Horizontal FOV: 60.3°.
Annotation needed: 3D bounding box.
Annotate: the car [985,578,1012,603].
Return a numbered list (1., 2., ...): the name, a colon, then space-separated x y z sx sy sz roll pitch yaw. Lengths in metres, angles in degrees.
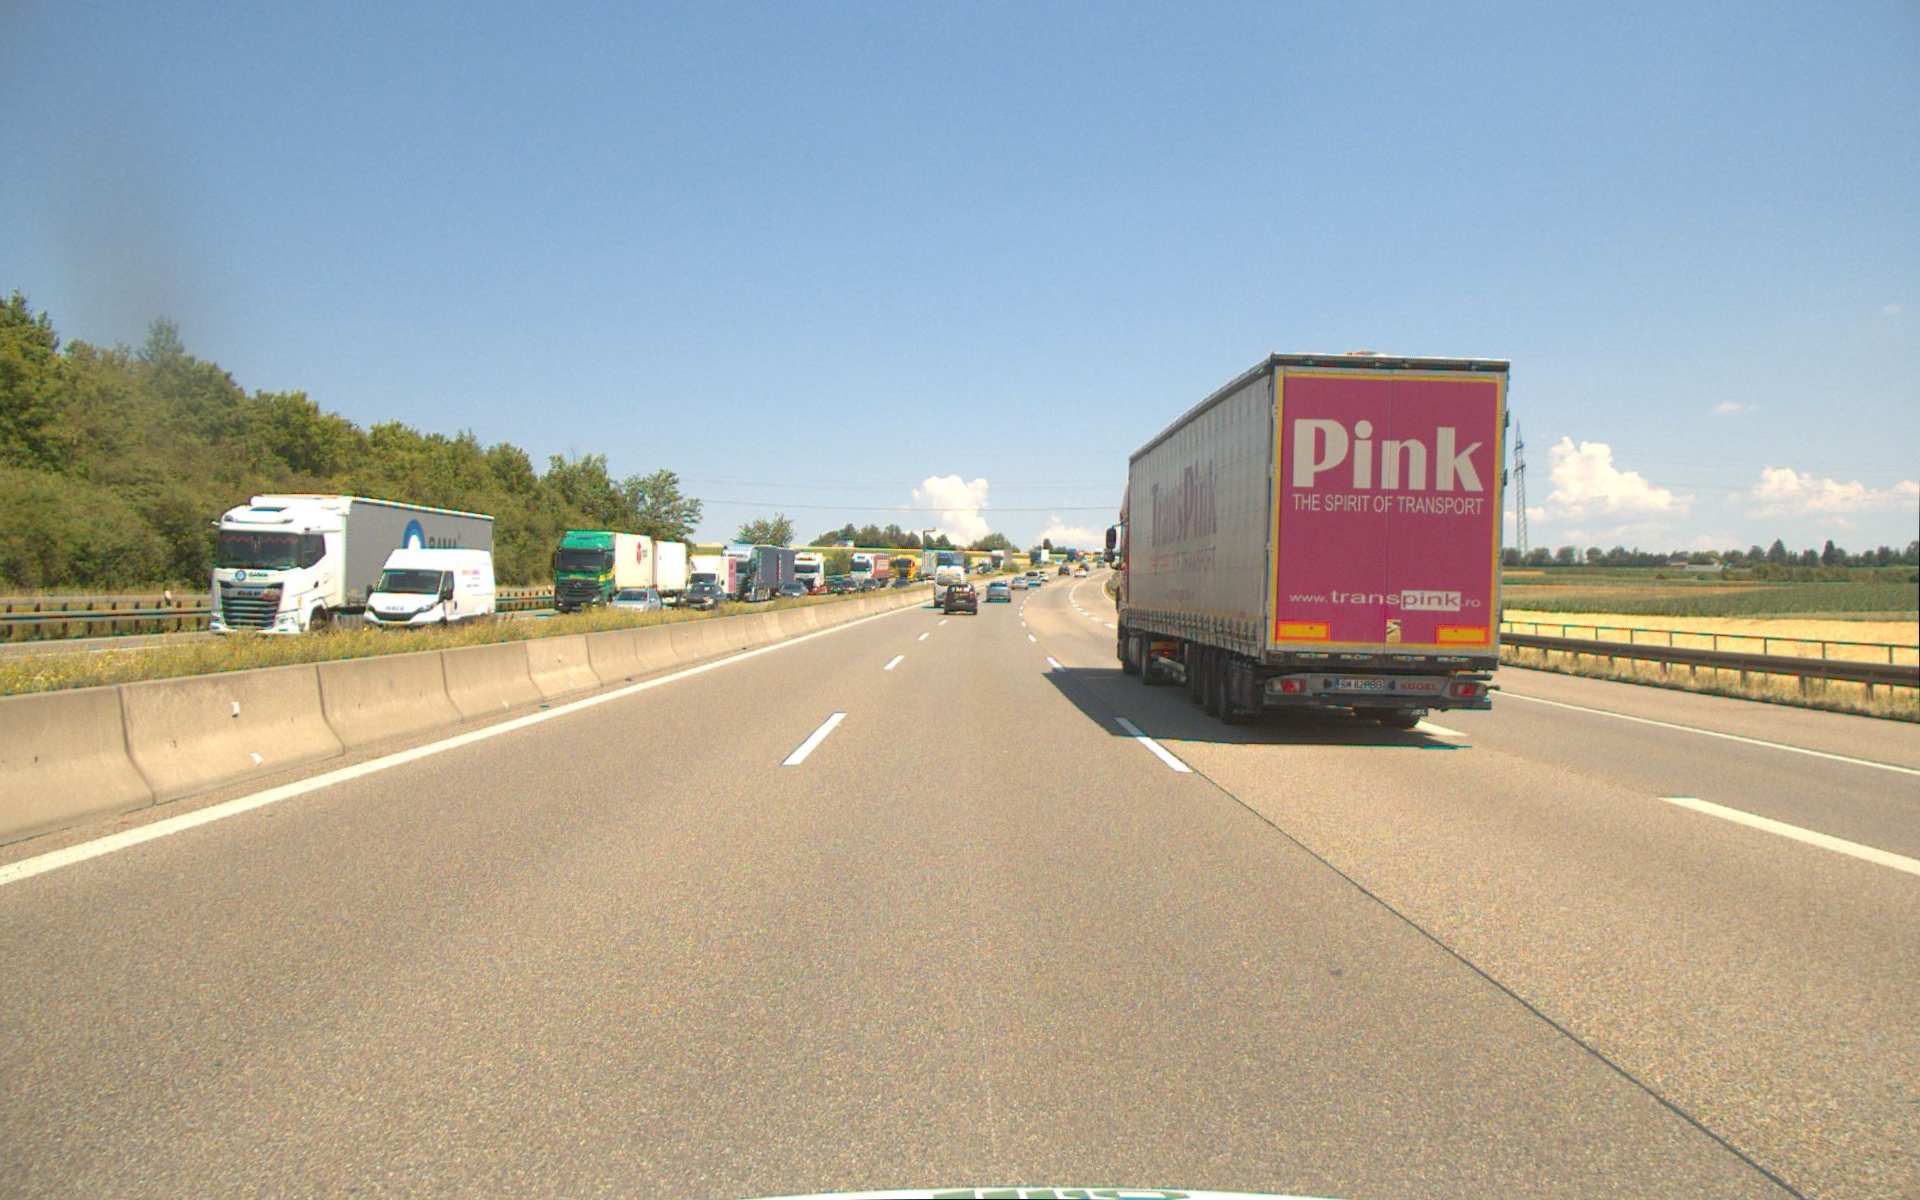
1. car: 2.919 -0.721 124.644 1.952 1.780 4.001 1 -1 3

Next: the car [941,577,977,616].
1. car: -0.039 -0.196 87.306 1.809 1.893 4.207 0 2 1

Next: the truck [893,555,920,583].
1. truck: -7.582 -4.449 234.597 2.692 3.903 7.104 1 2 6

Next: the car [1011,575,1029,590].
1. car: 6.616 -1.894 182.118 1.952 1.613 4.000 0 0 1

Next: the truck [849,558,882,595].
1. truck: -10.949 -2.784 192.321 2.971 4.152 6.319 1 1 5

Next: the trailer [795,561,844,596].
1. trailer: -13.504 -2.129 160.071 2.798 3.261 12.790 1 1 4

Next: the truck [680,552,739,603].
1. truck: -16.511 -1.510 109.261 2.485 3.263 7.591 0 1 2

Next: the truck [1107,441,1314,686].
1. truck: 4.494 -0.634 31.044 2.856 4.078 6.511 1 0 0

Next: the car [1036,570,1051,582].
1. car: 11.837 -3.361 234.625 1.952 1.578 4.003 2 2 4

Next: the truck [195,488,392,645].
1. truck: -18.596 -0.900 46.640 2.794 4.107 6.605 0 0 1

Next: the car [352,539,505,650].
1. car: -14.691 -0.089 46.211 2.095 2.835 6.624 1 -1 0

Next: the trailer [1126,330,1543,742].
1. trailer: 4.550 -0.707 23.924 2.859 4.189 13.858 1 0 0

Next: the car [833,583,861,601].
1. car: -10.252 -0.705 150.511 1.952 1.554 4.774 1 1 2

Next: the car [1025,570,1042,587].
1. car: 9.075 -2.621 203.993 1.953 1.937 4.000 0 -1 0

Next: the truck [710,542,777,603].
1. truck: -16.001 -2.041 123.080 2.938 4.308 10.739 0 1 3

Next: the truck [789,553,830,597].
1. truck: -13.927 -2.318 153.493 2.840 3.944 6.181 1 1 3

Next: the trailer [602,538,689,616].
1. trailer: -17.460 -1.299 92.346 2.859 4.143 8.233 -1 1 3

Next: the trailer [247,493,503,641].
1. trailer: -18.475 -0.981 53.816 2.842 4.157 14.448 0 0 2

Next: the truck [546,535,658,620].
1. truck: -17.915 -1.141 83.584 2.784 3.967 11.251 -1 1 2

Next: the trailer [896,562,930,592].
1. trailer: -6.779 -3.462 241.648 2.890 4.171 14.394 1 2 6

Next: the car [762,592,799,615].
1. car: -12.896 0.210 119.199 1.952 1.572 5.495 0 1 1

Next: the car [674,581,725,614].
1. car: -13.718 -0.106 87.317 1.823 1.670 5.114 0 -1 1

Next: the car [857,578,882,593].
1. car: -9.170 -1.439 167.831 1.952 1.480 5.172 0 1 2

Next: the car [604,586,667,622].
1. car: -14.035 0.207 71.809 1.716 1.486 4.858 1 -1 0

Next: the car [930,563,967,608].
1. car: -0.698 -0.867 104.732 2.135 2.671 4.673 1 -1 1
